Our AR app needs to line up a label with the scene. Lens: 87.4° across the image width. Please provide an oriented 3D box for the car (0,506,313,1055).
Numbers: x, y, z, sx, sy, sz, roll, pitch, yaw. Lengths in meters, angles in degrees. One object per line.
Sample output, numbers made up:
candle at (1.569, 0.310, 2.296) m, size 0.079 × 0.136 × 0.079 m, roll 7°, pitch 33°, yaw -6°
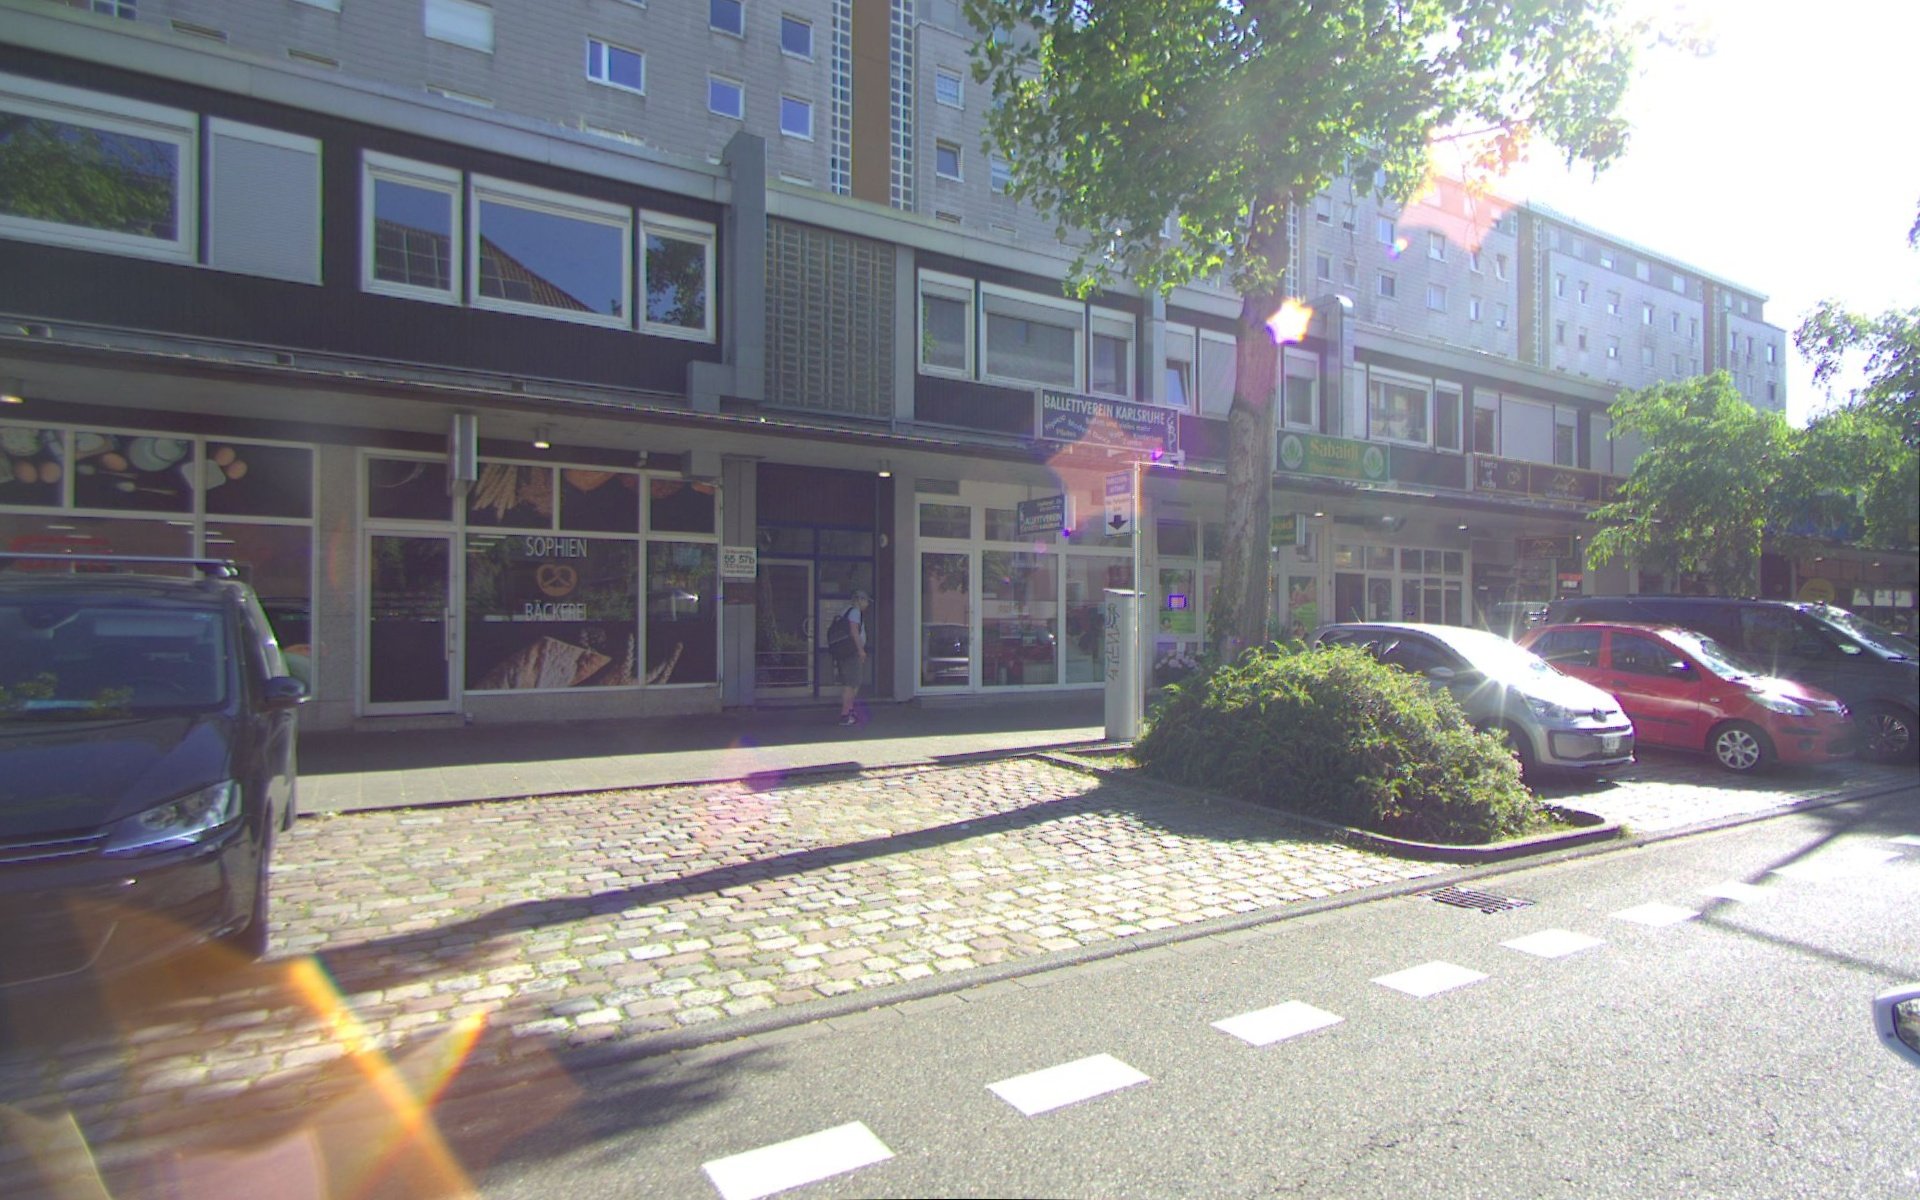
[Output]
car at (-4.526, 0.583, 5.224) m, size 1.853 × 1.801 × 4.742 m, roll 1°, pitch 0°, yaw -32°

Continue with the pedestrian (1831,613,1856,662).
pedestrian at (26.932, 1.144, 30.627) m, size 0.416 × 1.492 × 0.465 m, roll 1°, pitch -1°, yaw -33°

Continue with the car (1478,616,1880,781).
car at (8.328, 1.012, 11.937) m, size 1.642 × 1.575 × 3.539 m, roll 1°, pitch 0°, yaw -31°

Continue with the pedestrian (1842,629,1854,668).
pedestrian at (28.791, 1.560, 32.559) m, size 0.212 × 1.261 × 0.211 m, roll 1°, pitch 0°, yaw -29°

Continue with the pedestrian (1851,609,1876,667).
pedestrian at (28.382, 1.186, 31.569) m, size 0.423 × 1.806 × 0.482 m, roll 1°, pitch -1°, yaw -33°

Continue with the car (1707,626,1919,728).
car at (14.801, 1.217, 16.574) m, size 1.596 × 1.470 × 3.644 m, roll 1°, pitch 0°, yaw -33°

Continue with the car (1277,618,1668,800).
car at (5.417, 1.023, 11.082) m, size 1.651 × 1.582 × 3.573 m, roll 1°, pitch 0°, yaw -26°

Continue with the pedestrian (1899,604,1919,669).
pedestrian at (29.145, 1.117, 30.819) m, size 0.357 × 1.960 × 0.389 m, roll 1°, pitch 0°, yaw -29°

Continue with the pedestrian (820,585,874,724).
pedestrian at (-1.412, 0.672, 12.537) m, size 0.527 × 1.688 × 0.441 m, roll 1°, pitch 0°, yaw -31°

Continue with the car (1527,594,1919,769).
car at (10.555, 0.911, 13.344) m, size 1.852 × 1.964 × 5.004 m, roll 1°, pitch 0°, yaw -31°

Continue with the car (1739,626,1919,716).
car at (16.634, 1.242, 17.986) m, size 1.690 × 1.470 × 3.898 m, roll 1°, pitch 0°, yaw -31°
